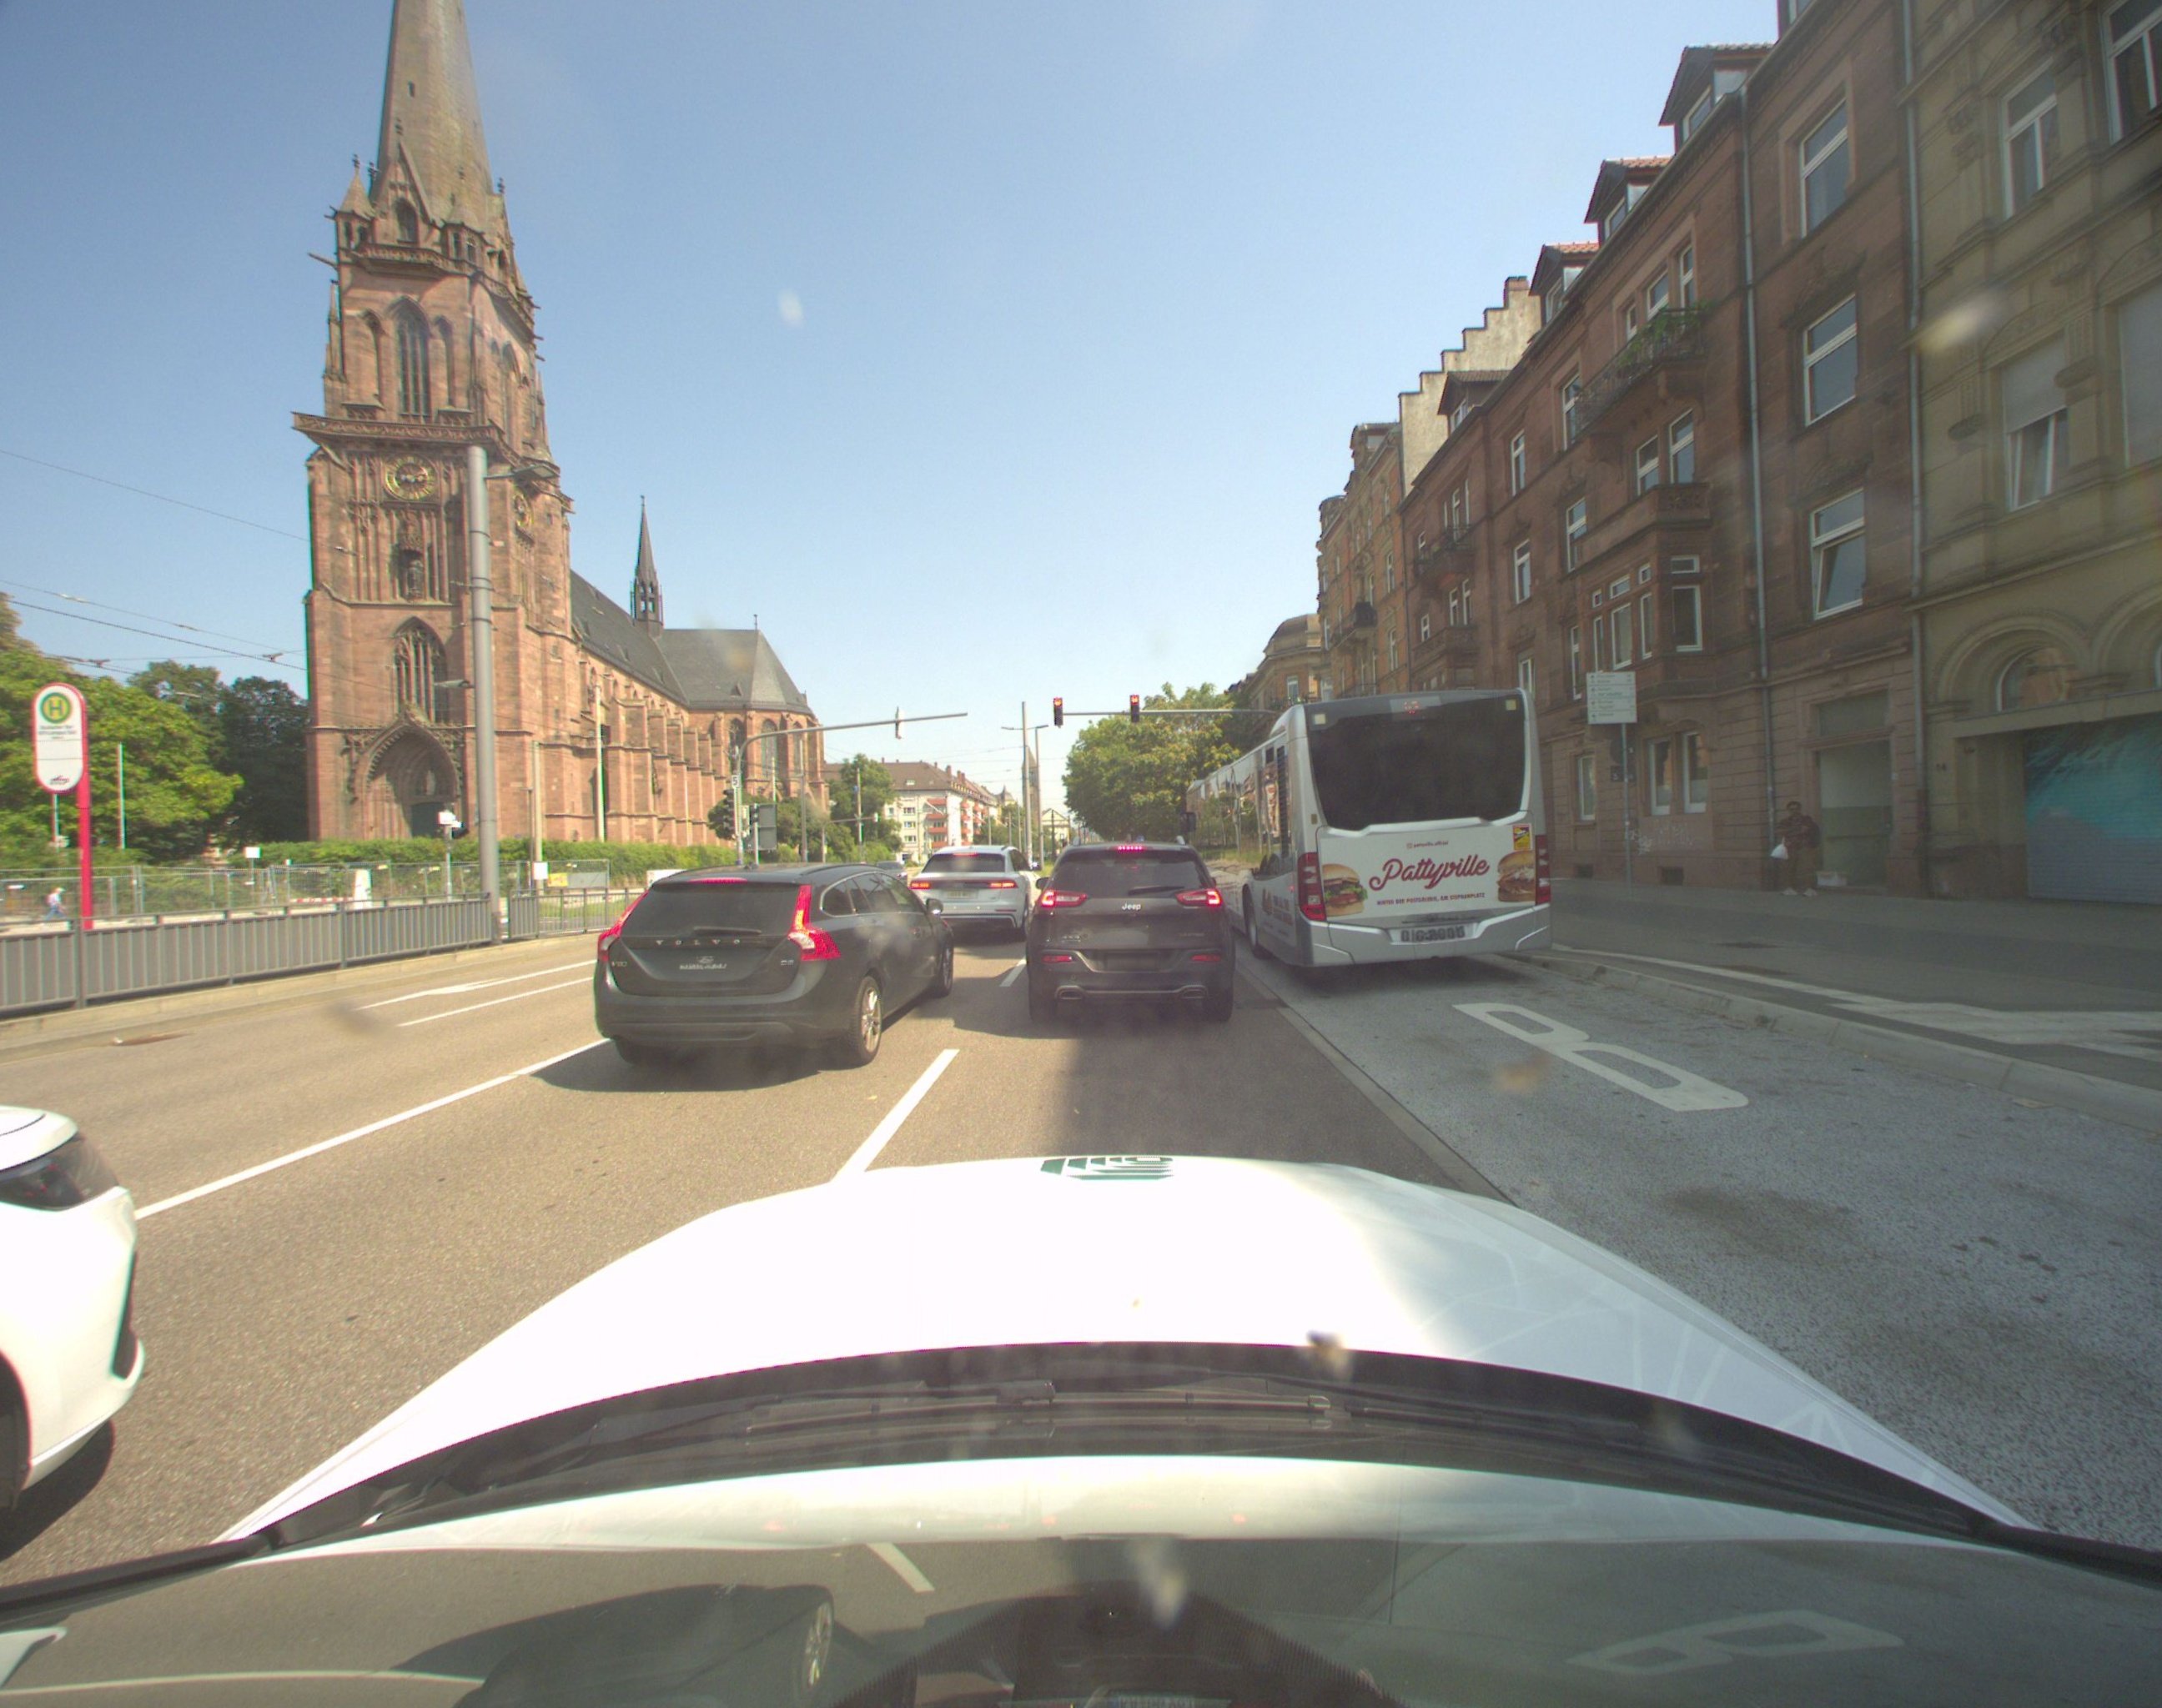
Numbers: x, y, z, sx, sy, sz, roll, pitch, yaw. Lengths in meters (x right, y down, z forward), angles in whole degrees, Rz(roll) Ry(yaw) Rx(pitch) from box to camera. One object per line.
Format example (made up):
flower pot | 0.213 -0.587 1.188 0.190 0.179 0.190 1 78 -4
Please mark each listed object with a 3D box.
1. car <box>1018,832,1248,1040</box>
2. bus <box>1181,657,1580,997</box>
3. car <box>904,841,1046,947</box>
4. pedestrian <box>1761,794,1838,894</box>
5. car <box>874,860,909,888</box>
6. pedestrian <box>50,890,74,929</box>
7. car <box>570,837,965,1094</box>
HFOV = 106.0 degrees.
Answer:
car | 0.523 0.649 8.687 1.825 1.651 4.311 -1 0 3
bus | 3.639 -0.259 13.925 2.732 3.107 11.963 -5 0 3
car | -1.786 0.621 15.140 1.895 1.651 4.310 -1 0 2
pedestrian | 13.274 -0.189 15.048 0.872 1.778 0.737 -2 0 -26
car | -10.900 1.090 46.713 1.749 1.435 4.549 -4 1 -15
pedestrian | -41.386 2.231 33.085 0.430 1.531 0.548 -3 0 36
car | -2.307 0.705 7.336 1.741 1.614 4.310 -1 0 2
